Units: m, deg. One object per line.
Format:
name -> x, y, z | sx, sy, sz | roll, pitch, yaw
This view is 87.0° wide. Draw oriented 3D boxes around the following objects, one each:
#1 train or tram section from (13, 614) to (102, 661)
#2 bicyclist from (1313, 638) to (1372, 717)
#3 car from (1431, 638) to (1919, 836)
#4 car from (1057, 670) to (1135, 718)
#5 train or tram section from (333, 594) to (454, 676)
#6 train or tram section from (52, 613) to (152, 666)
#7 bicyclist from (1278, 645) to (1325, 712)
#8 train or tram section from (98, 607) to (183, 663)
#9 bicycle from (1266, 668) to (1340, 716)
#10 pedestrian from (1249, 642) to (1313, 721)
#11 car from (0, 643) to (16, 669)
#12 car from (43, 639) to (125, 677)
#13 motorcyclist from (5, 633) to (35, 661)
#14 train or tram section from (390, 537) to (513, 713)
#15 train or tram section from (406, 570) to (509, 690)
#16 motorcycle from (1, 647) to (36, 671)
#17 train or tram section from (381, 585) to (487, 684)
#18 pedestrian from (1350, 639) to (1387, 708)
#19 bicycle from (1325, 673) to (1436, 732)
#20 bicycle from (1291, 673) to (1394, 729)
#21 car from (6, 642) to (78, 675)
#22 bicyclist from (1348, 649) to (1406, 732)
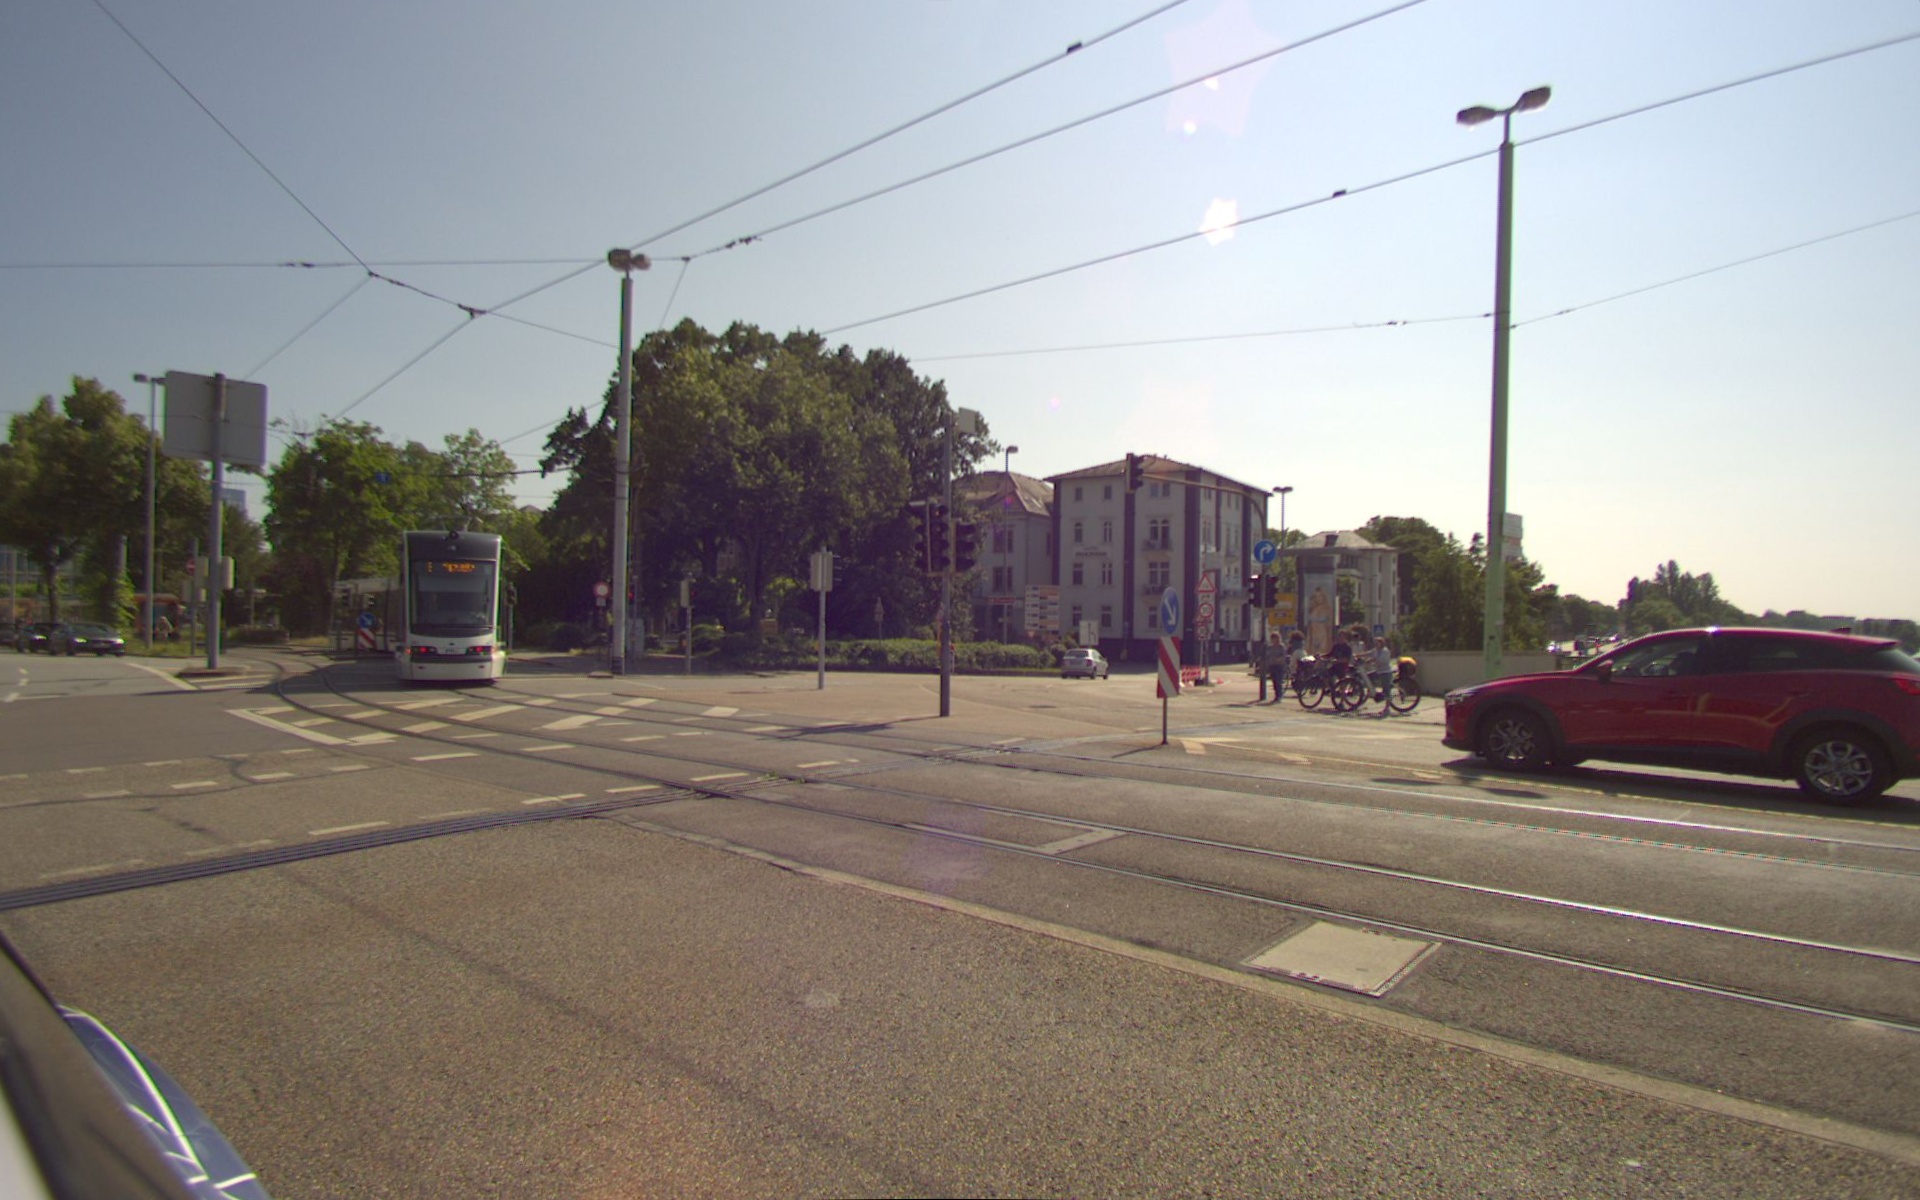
train or tram section -> -69.650, 2.946, 77.996 | 12.391, 3.430, 2.734 | -2, -4, 37
bicyclist -> 8.046, 1.620, 21.316 | 0.865, 1.621, 0.773 | 1, -2, -9
car -> 7.168, 1.187, 9.937 | 1.969, 1.526, 4.194 | 5, -4, -42
car -> 6.540, 4.435, 48.453 | 1.997, 2.029, 3.949 | -2, -3, 37
train or tram section -> -28.871, 1.823, 51.371 | 9.170, 3.806, 2.509 | -2, -6, 43
train or tram section -> -59.803, 2.783, 70.384 | 12.393, 3.430, 2.733 | -2, -4, 38
bicyclist -> 8.819, 2.006, 26.146 | 0.864, 1.687, 0.774 | 1, -2, -19
train or tram section -> -52.471, 2.263, 64.755 | 5.876, 3.430, 2.735 | -2, -4, 36
bicycle -> 8.815, 2.345, 26.087 | 0.748, 1.122, 1.926 | 1, -2, -20
pedestrian -> 7.494, 1.885, 23.670 | 1.142, 1.816, 0.940 | 0, -2, -1
car -> -51.056, 2.924, 52.996 | 3.907, 1.318, 1.618 | -2, -4, 37
car -> -36.866, 2.427, 42.559 | 4.741, 1.497, 1.731 | -2, -5, 39
motorcyclist -> -46.988, 2.343, 50.604 | 0.991, 1.369, 0.892 | -2, -4, 36
train or tram section -> -14.074, 0.679, 27.650 | 2.435, 3.806, 11.886 | 0, -2, -29
train or tram section -> -18.144, 1.175, 36.198 | 2.370, 3.709, 9.646 | 2, -4, -31
motorcycle -> -47.038, 2.931, 50.556 | 2.349, 1.172, 0.892 | -2, -2, 37
train or tram section -> -22.841, 1.563, 43.635 | 2.504, 3.806, 9.188 | 2, -4, -37
pedestrian -> 10.949, 1.955, 27.152 | 0.686, 1.806, 0.701 | 0, -3, -1
bicycle -> 8.468, 2.058, 20.419 | 1.893, 1.122, 0.761 | 0, -2, 1
bicycle -> 8.033, 2.104, 21.280 | 1.889, 1.122, 0.763 | 1, -2, -10
car -> -41.922, 2.660, 46.191 | 3.995, 1.422, 1.775 | -2, -4, 38
bicyclist -> 8.394, 1.814, 20.418 | 0.761, 1.621, 0.880 | 0, -2, -1
